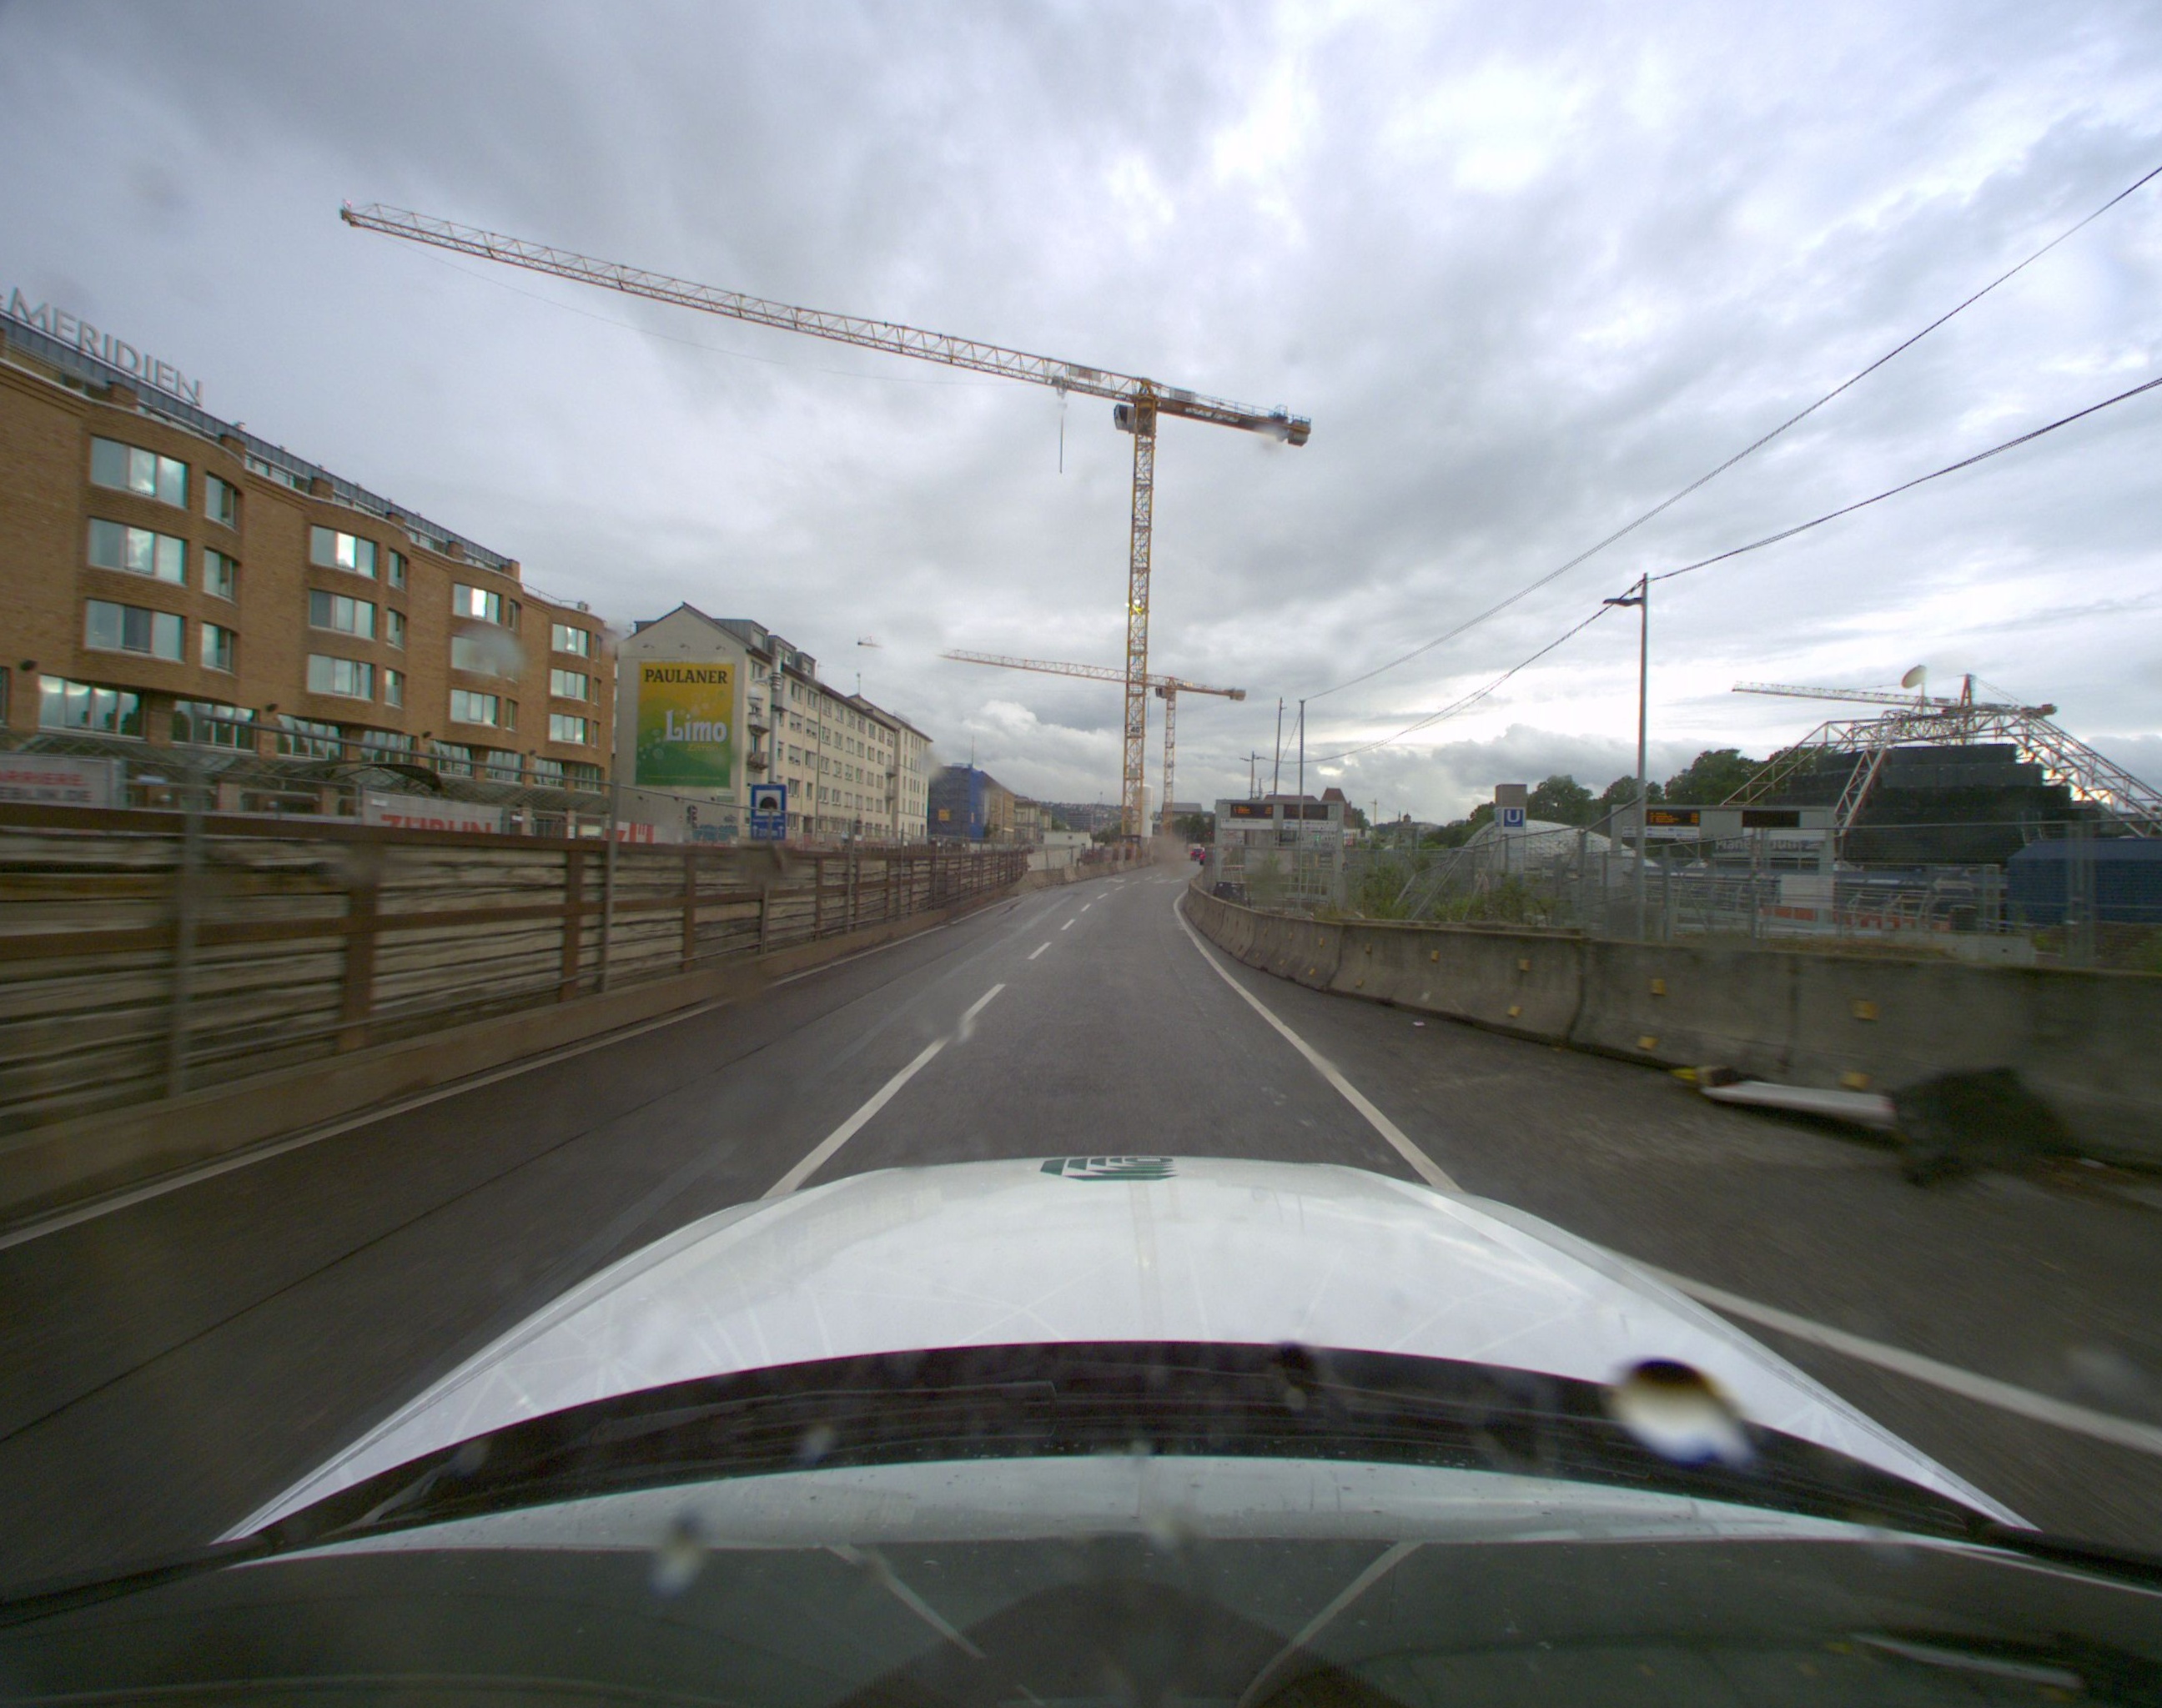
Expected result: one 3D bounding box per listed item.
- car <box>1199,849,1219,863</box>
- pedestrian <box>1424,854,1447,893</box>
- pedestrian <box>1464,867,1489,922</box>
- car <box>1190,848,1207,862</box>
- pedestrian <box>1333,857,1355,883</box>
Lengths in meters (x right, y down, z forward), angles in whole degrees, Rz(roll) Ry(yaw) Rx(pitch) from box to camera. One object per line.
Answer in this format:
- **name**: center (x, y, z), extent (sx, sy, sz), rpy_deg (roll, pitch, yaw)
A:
- **car**: center (13.247, 0.184, 84.077), extent (1.851, 1.433, 4.671), rpy_deg (-1, 0, 11)
- **pedestrian**: center (16.610, 0.904, 38.192), extent (0.686, 1.778, 1.024), rpy_deg (1, 0, 5)
- **pedestrian**: center (13.142, 1.323, 27.069), extent (0.683, 1.778, 0.820), rpy_deg (0, -1, 30)
- **car**: center (14.936, 0.098, 103.304), extent (1.851, 1.660, 4.670), rpy_deg (2, 1, 11)
- **pedestrian**: center (17.170, 1.028, 53.178), extent (1.022, 1.658, 0.894), rpy_deg (1, 0, -18)
